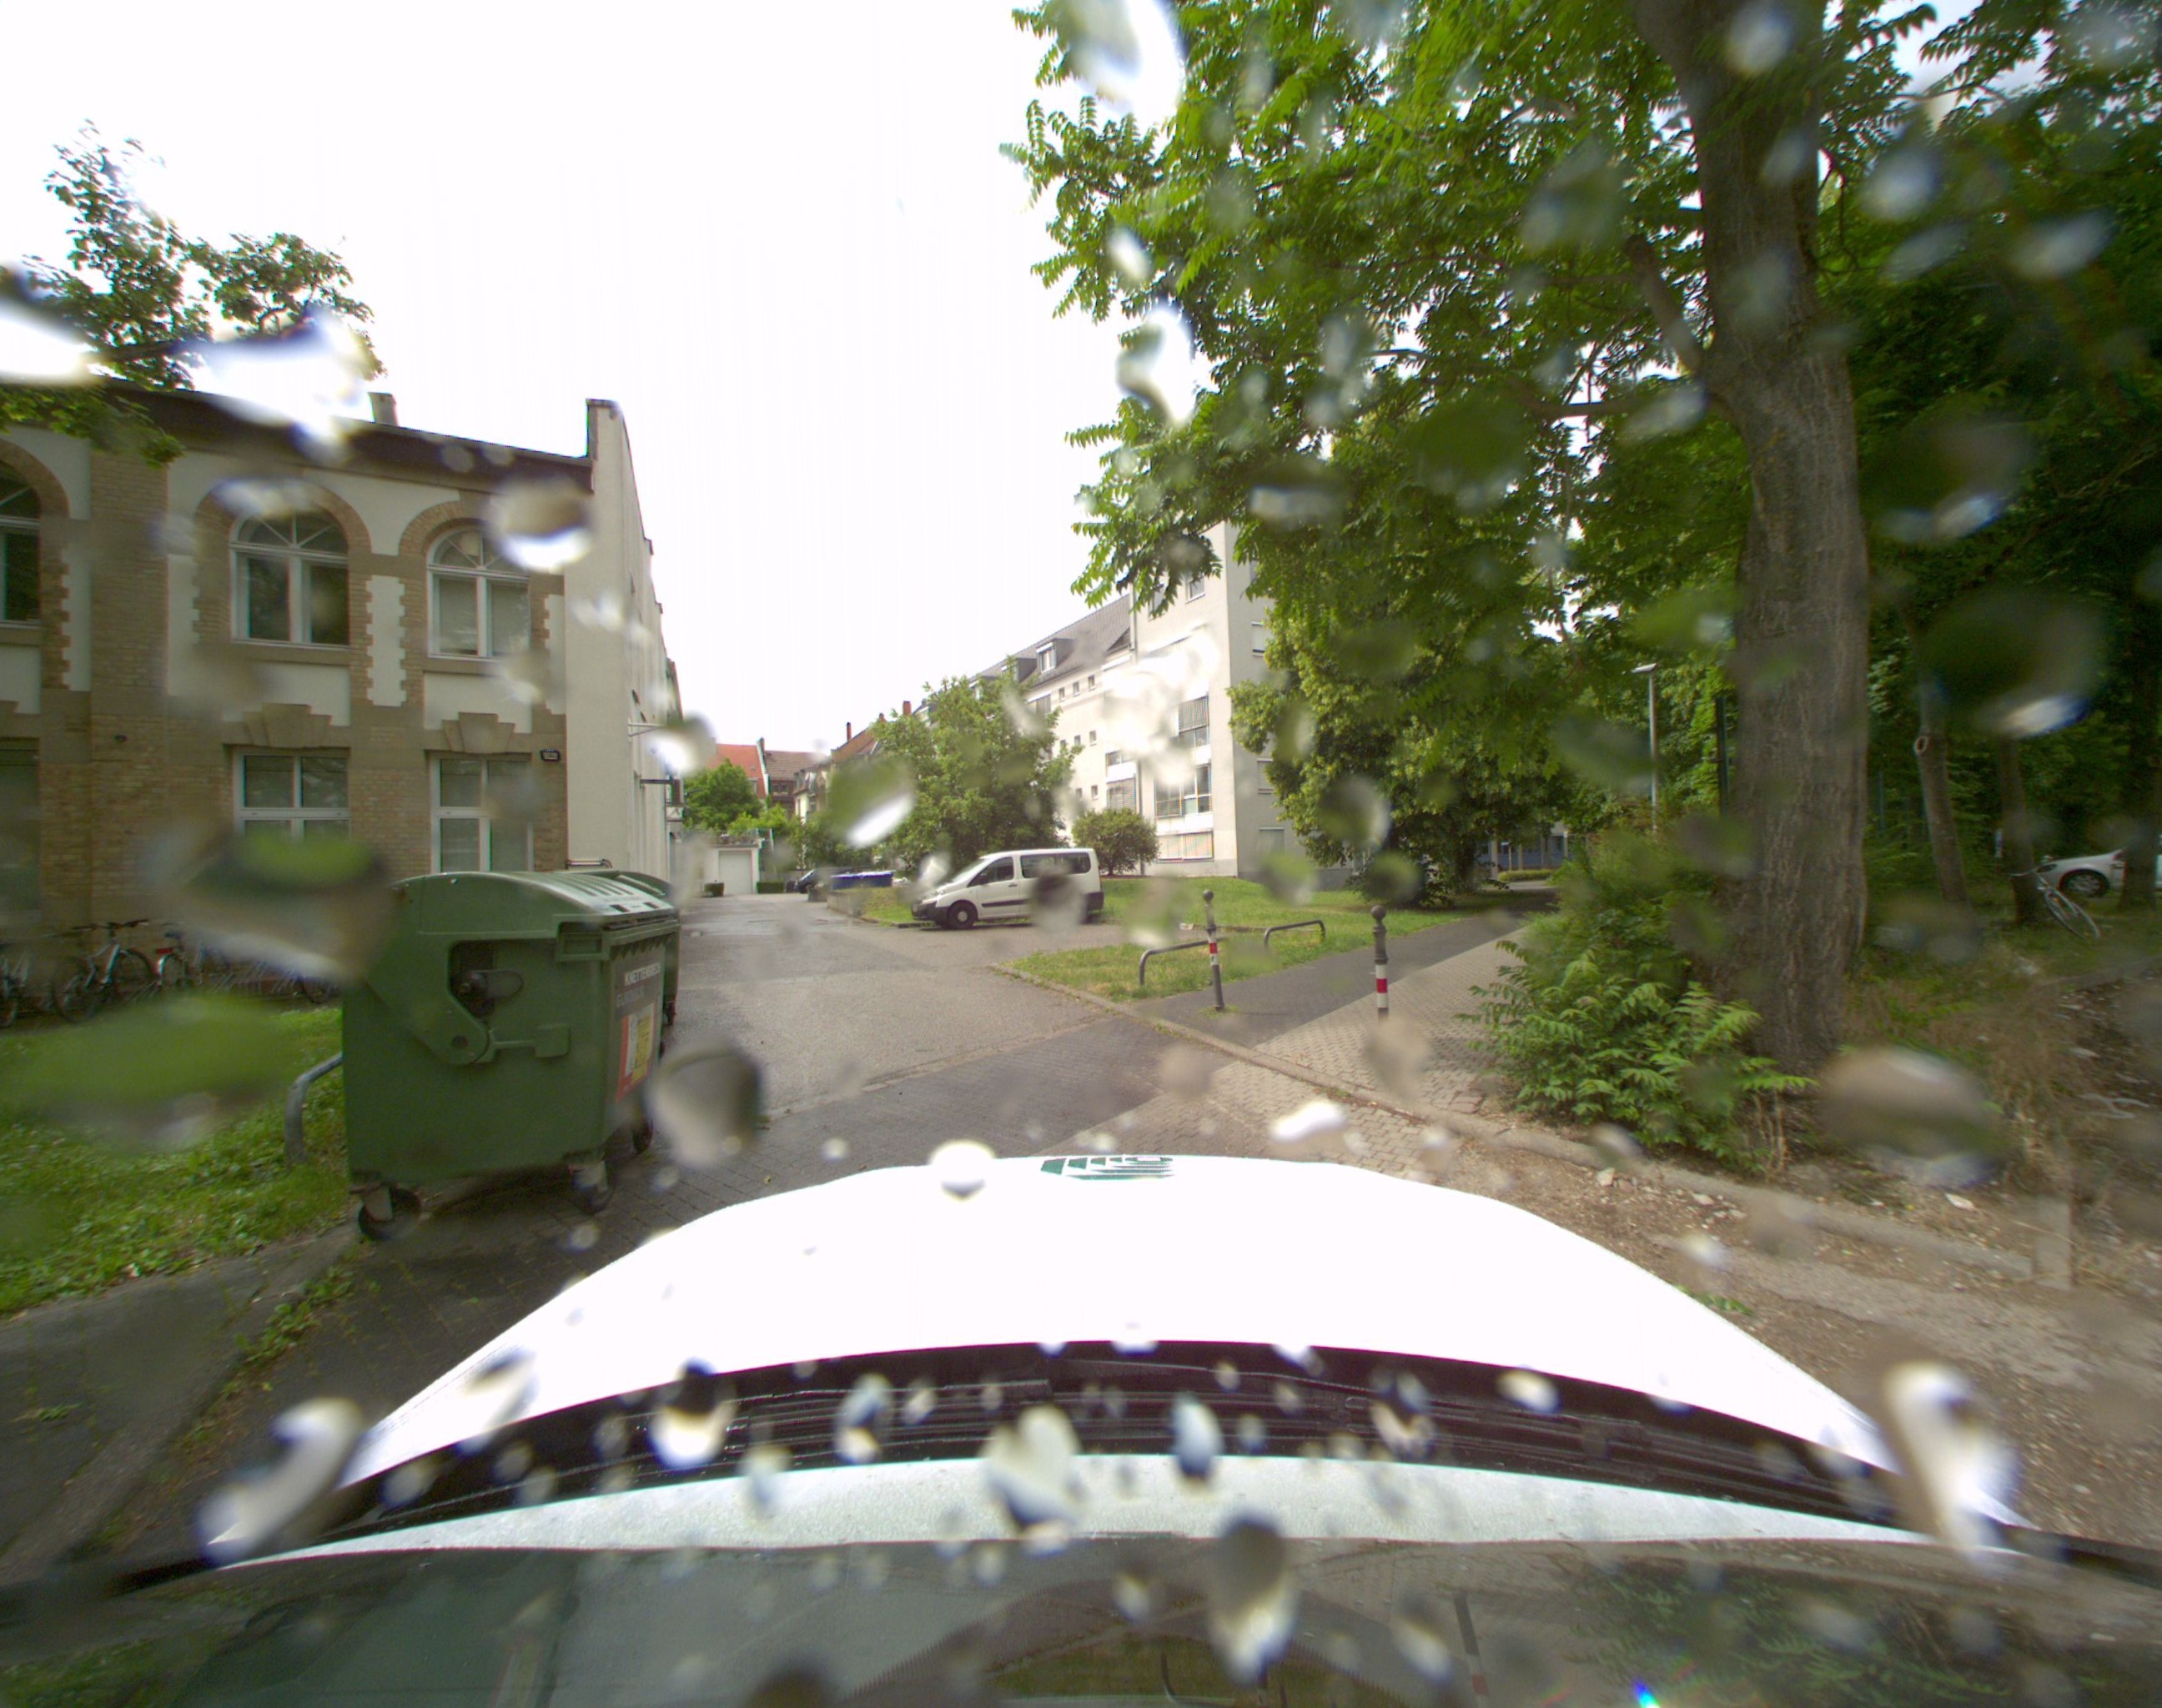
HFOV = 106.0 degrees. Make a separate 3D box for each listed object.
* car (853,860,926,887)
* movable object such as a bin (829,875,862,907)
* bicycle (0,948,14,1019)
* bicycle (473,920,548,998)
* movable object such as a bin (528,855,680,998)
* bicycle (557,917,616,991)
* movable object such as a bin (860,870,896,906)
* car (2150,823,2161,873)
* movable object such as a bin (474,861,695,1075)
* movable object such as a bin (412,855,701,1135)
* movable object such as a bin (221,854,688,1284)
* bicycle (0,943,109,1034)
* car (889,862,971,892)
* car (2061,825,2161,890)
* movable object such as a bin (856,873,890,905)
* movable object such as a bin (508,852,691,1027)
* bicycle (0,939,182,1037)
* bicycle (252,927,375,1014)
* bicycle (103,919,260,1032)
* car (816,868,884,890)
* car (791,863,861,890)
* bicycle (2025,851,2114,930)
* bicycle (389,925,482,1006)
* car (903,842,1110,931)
[{"bbox_3d":[-12.167,1.220,51.776,4.123,1.455,1.815,-3,-1,-30],"label":"car"},{"bbox_3d":[-9.892,1.543,34.152,1.180,1.317,1.046,0,-1,-26],"label":"movable object such as a bin"},{"bbox_3d":[-12.446,1.508,8.628,0.454,0.799,2.040,0,-1,-24],"label":"bicycle"},{"bbox_3d":[-7.643,1.368,10.983,0.454,0.799,2.040,0,-1,-24],"label":"bicycle"},{"bbox_3d":[-5.336,0.750,9.251,1.366,1.471,1.354,0,-1,-26],"label":"movable object such as a bin"},{"bbox_3d":[-6.825,1.337,11.312,0.454,0.799,2.040,0,-1,-24],"label":"bicycle"},{"bbox_3d":[-8.663,1.454,34.731,1.281,1.483,1.092,0,-1,-26],"label":"movable object such as a bin"},{"bbox_3d":[32.443,-0.192,22.145,1.990,1.409,4.004,0,-1,-35],"label":"car"},{"bbox_3d":[-3.853,0.796,6.526,1.366,1.471,1.341,0,-1,-26],"label":"movable object such as a bin"},{"bbox_3d":[-3.209,0.750,5.244,1.366,1.471,1.452,0,-1,-26],"label":"movable object such as a bin"},{"bbox_3d":[-2.636,0.746,3.807,1.416,1.471,1.547,0,-1,-26],"label":"movable object such as a bin"},{"bbox_3d":[-11.690,1.479,8.947,0.454,0.799,2.040,0,-1,-24],"label":"bicycle"},{"bbox_3d":[-8.182,1.230,44.206,4.008,1.354,1.775,-4,0,-26],"label":"car"},{"bbox_3d":[24.527,0.075,17.686,1.990,1.409,4.004,0,-1,-35],"label":"car"},{"bbox_3d":[-9.284,1.553,36.364,1.236,1.317,1.046,-2,0,-26],"label":"movable object such as a bin"},{"bbox_3d":[-4.487,0.730,7.765,1.366,1.471,1.354,0,-1,-26],"label":"movable object such as a bin"},{"bbox_3d":[-11.121,1.459,9.240,0.454,0.799,2.040,0,-1,-24],"label":"bicycle"},{"bbox_3d":[-9.368,1.379,10.024,0.454,0.799,2.040,0,-1,-24],"label":"bicycle"},{"bbox_3d":[-10.473,1.356,9.572,0.454,1.038,2.040,0,-1,-24],"label":"bicycle"},{"bbox_3d":[-16.507,1.781,58.254,4.383,1.348,1.841,-2,0,-32],"label":"car"},{"bbox_3d":[-19.736,1.744,62.971,4.742,1.833,2.089,-3,0,-32],"label":"car"},{"bbox_3d":[12.176,0.418,10.063,0.462,0.879,1.580,-1,1,42],"label":"bicycle"},{"bbox_3d":[-8.299,1.392,10.542,0.454,0.799,2.040,0,-1,-24],"label":"bicycle"},{"bbox_3d":[-1.920,0.778,21.012,4.957,2.014,1.985,-1,-1,-22],"label":"car"}]
